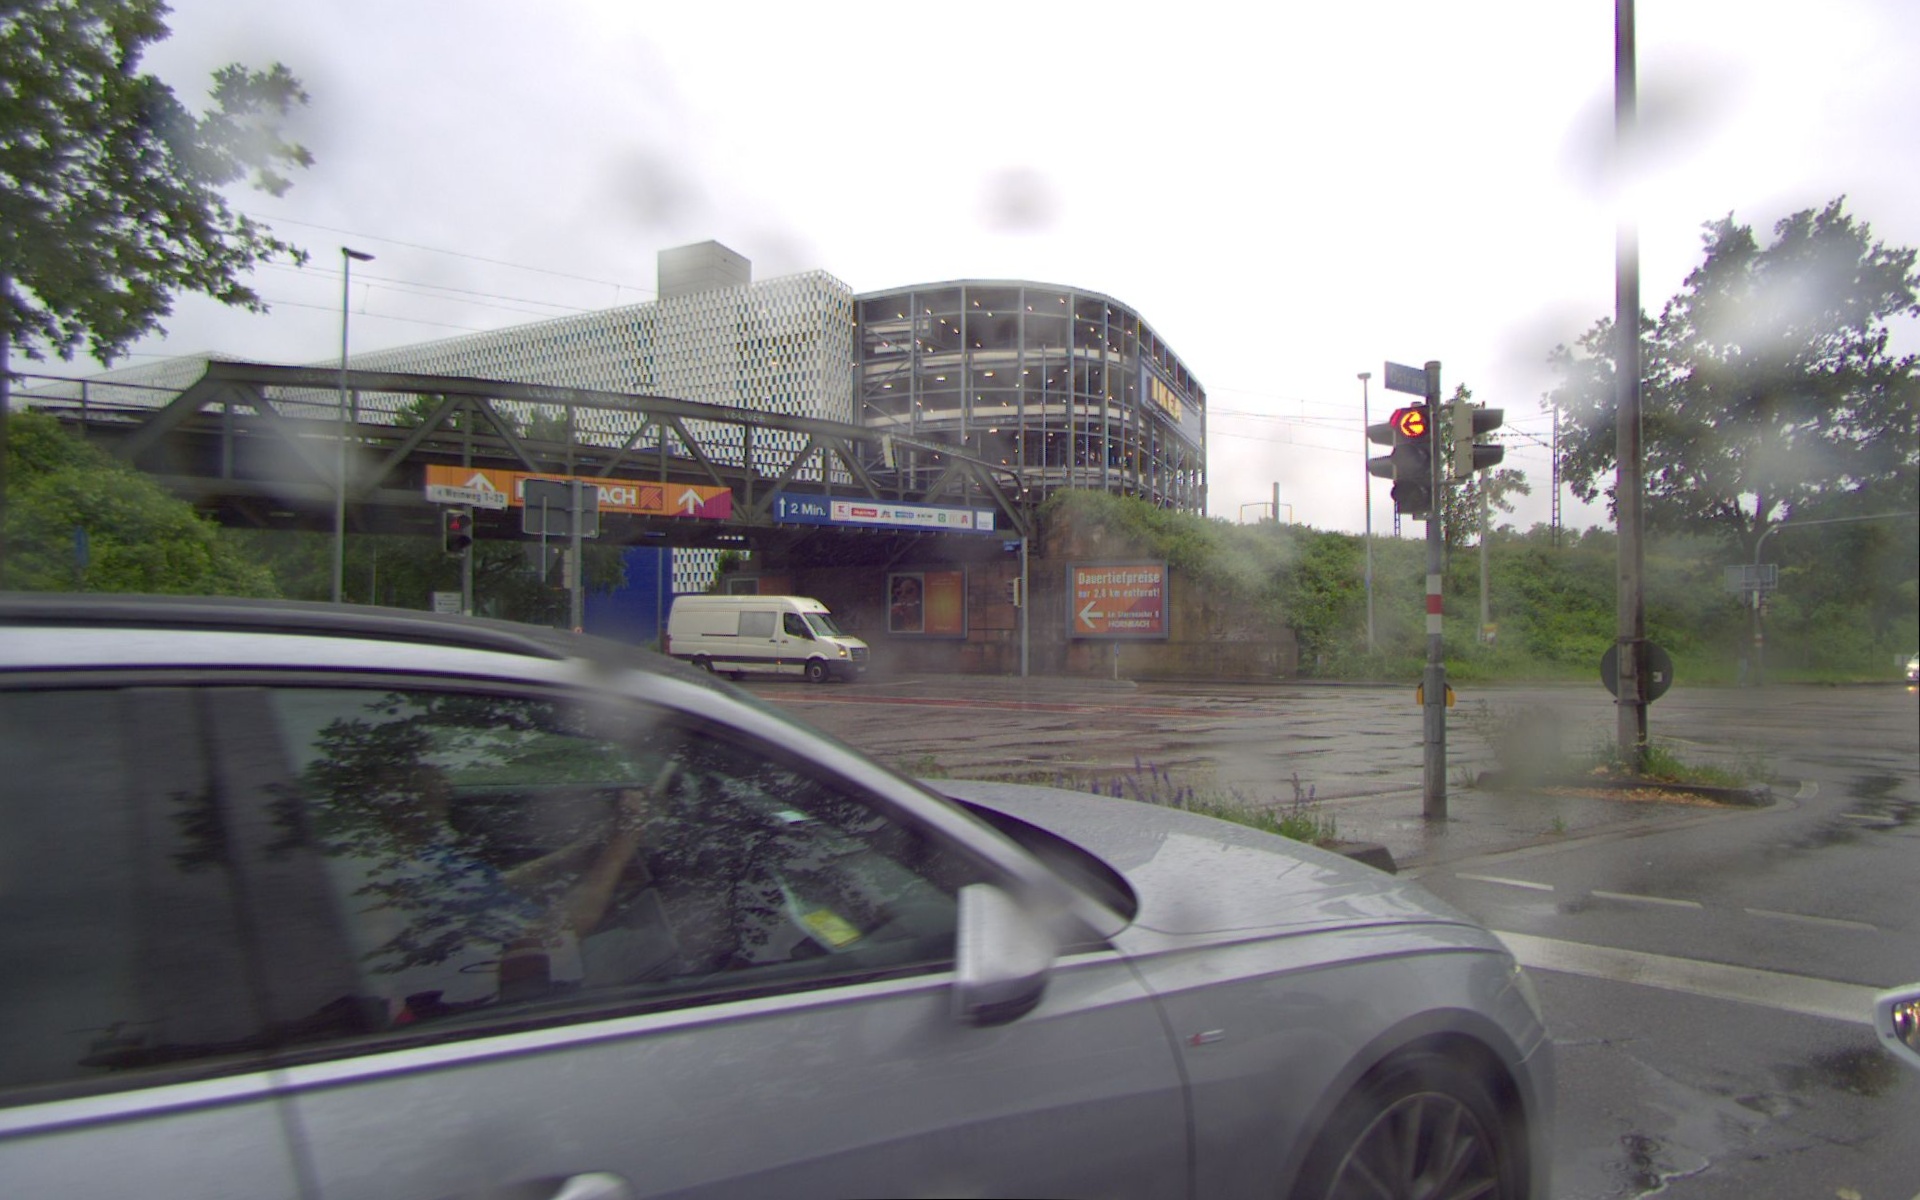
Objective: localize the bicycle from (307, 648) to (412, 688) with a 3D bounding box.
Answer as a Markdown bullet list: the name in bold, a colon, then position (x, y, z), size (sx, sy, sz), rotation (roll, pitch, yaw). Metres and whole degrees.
- **bicycle**: position (-19.298, 2.152, 32.275), size (3.385, 1.220, 1.199), rotation (-1, -3, 25)

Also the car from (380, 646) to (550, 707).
- **car**: position (-12.812, 1.931, 25.996), size (4.067, 1.453, 1.693), rotation (-1, -2, 22)

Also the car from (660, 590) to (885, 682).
- **car**: position (-5.917, 1.111, 31.515), size (6.846, 2.645, 2.386), rotation (-1, -2, 25)

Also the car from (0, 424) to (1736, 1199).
- **car**: position (-0.702, 0.668, 1.827), size (4.766, 1.595, 1.760), rotation (1, 0, -32)

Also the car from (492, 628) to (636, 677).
- **car**: position (-14.005, 1.822, 35.506), size (4.858, 1.621, 1.882), rotation (-1, -2, 24)

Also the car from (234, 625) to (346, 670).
- **car**: position (-24.771, 1.737, 37.134), size (3.836, 1.621, 1.654), rotation (-1, -2, 25)

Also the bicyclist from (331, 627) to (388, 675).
- **bicyclist**: position (-19.296, 1.632, 32.293), size (1.037, 1.503, 1.152), rotation (-1, -2, 25)

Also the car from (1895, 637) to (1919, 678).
- **car**: position (36.067, 2.104, 36.875), size (3.746, 1.471, 1.629), rotation (2, -3, -33)

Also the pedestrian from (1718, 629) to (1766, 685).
- **pedestrian**: position (26.832, 1.939, 34.480), size (1.122, 1.871, 1.092), rotation (2, -3, -42)
